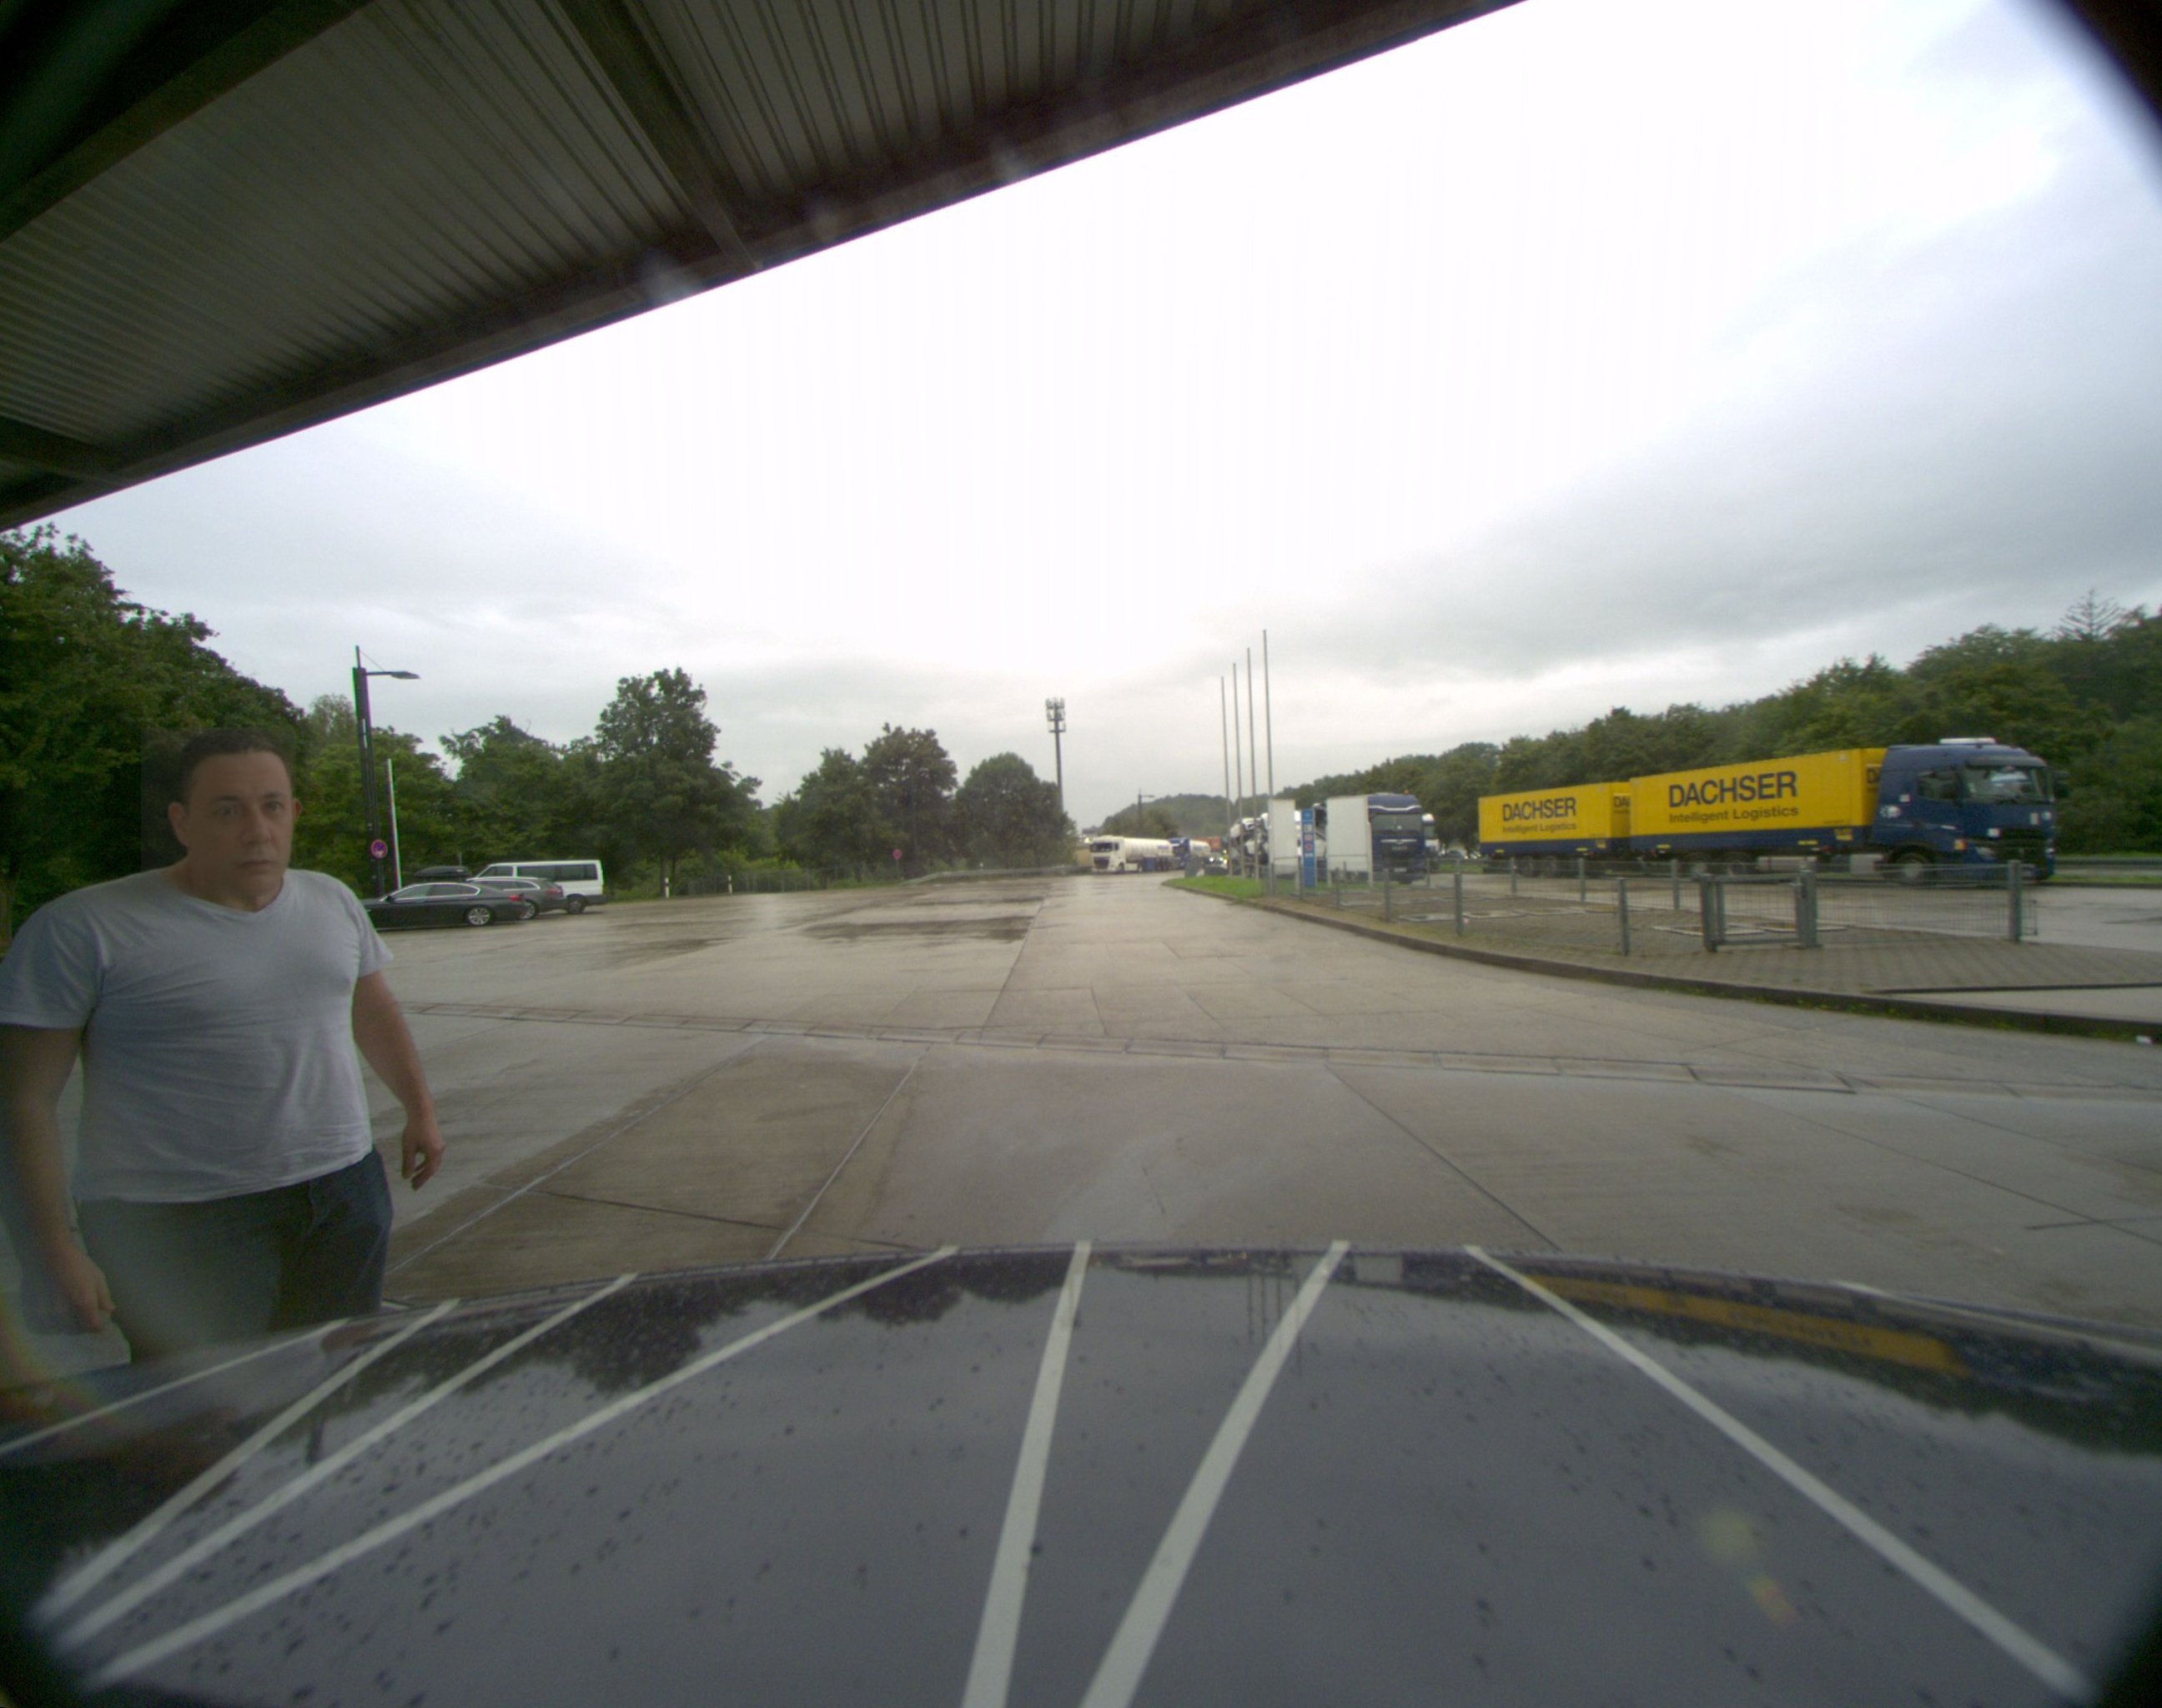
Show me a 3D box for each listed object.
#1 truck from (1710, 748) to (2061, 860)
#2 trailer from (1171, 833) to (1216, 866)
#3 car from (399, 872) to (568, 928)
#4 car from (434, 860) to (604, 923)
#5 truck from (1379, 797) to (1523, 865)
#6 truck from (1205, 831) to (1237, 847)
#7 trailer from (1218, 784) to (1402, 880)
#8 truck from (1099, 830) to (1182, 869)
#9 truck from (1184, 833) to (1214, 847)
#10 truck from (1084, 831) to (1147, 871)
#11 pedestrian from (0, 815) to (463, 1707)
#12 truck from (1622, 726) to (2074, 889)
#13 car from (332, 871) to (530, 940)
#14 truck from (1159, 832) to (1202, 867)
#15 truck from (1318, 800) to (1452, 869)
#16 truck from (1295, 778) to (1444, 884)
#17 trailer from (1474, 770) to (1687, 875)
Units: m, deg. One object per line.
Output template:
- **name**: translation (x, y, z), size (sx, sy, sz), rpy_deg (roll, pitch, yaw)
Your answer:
- **truck**: translation (33.769, -1.853, 32.939), size (2.991, 4.009, 10.464), rpy_deg (-2, 1, -10)
- **trailer**: translation (13.661, -0.653, 91.447), size (2.898, 3.618, 10.586), rpy_deg (-2, 1, 22)
- **car**: translation (-19.657, 1.456, 25.286), size (4.187, 1.547, 1.995), rpy_deg (-2, 0, -33)
- **car**: translation (-20.405, 1.289, 27.818), size (4.780, 1.974, 2.010), rpy_deg (-2, 0, -36)
- **truck**: translation (24.356, -1.406, 50.962), size (2.991, 4.009, 10.464), rpy_deg (-2, 1, -10)
- **truck**: translation (33.070, -3.546, 180.714), size (3.251, 3.544, 14.654), rpy_deg (-1, 1, -7)
- **trailer**: translation (11.369, -1.001, 40.945), size (2.990, 4.009, 16.597), rpy_deg (-2, 1, -7)
- **truck**: translation (6.193, -0.523, 76.355), size (3.243, 3.544, 11.995), rpy_deg (-2, 1, 31)
- **truck**: translation (30.788, -3.614, 199.658), size (3.251, 3.543, 16.548), rpy_deg (-2, 1, -7)
- **truck**: translation (3.310, -0.356, 71.443), size (3.243, 3.544, 6.114), rpy_deg (-2, 1, 31)
- **pedestrian**: translation (-1.733, 0.840, 1.414), size (0.493, 1.800, 0.634), rpy_deg (-2, 2, 10)
- **truck**: translation (23.057, -1.218, 24.315), size (2.774, 4.009, 10.632), rpy_deg (-2, 1, -8)
- **car**: translation (-19.125, 1.452, 22.645), size (4.187, 1.720, 1.995), rpy_deg (-2, 0, -33)
- **truck**: translation (11.321, -0.525, 85.740), size (3.045, 3.745, 6.475), rpy_deg (-2, 1, 23)
- **truck**: translation (19.753, -1.222, 50.438), size (2.991, 4.009, 10.464), rpy_deg (-2, 1, -10)
- **truck**: translation (12.299, -0.924, 33.253), size (2.990, 4.009, 7.259), rpy_deg (-2, 1, -7)
- **trailer**: translation (21.779, -1.278, 33.998), size (2.774, 4.009, 8.853), rpy_deg (-2, 1, -8)
